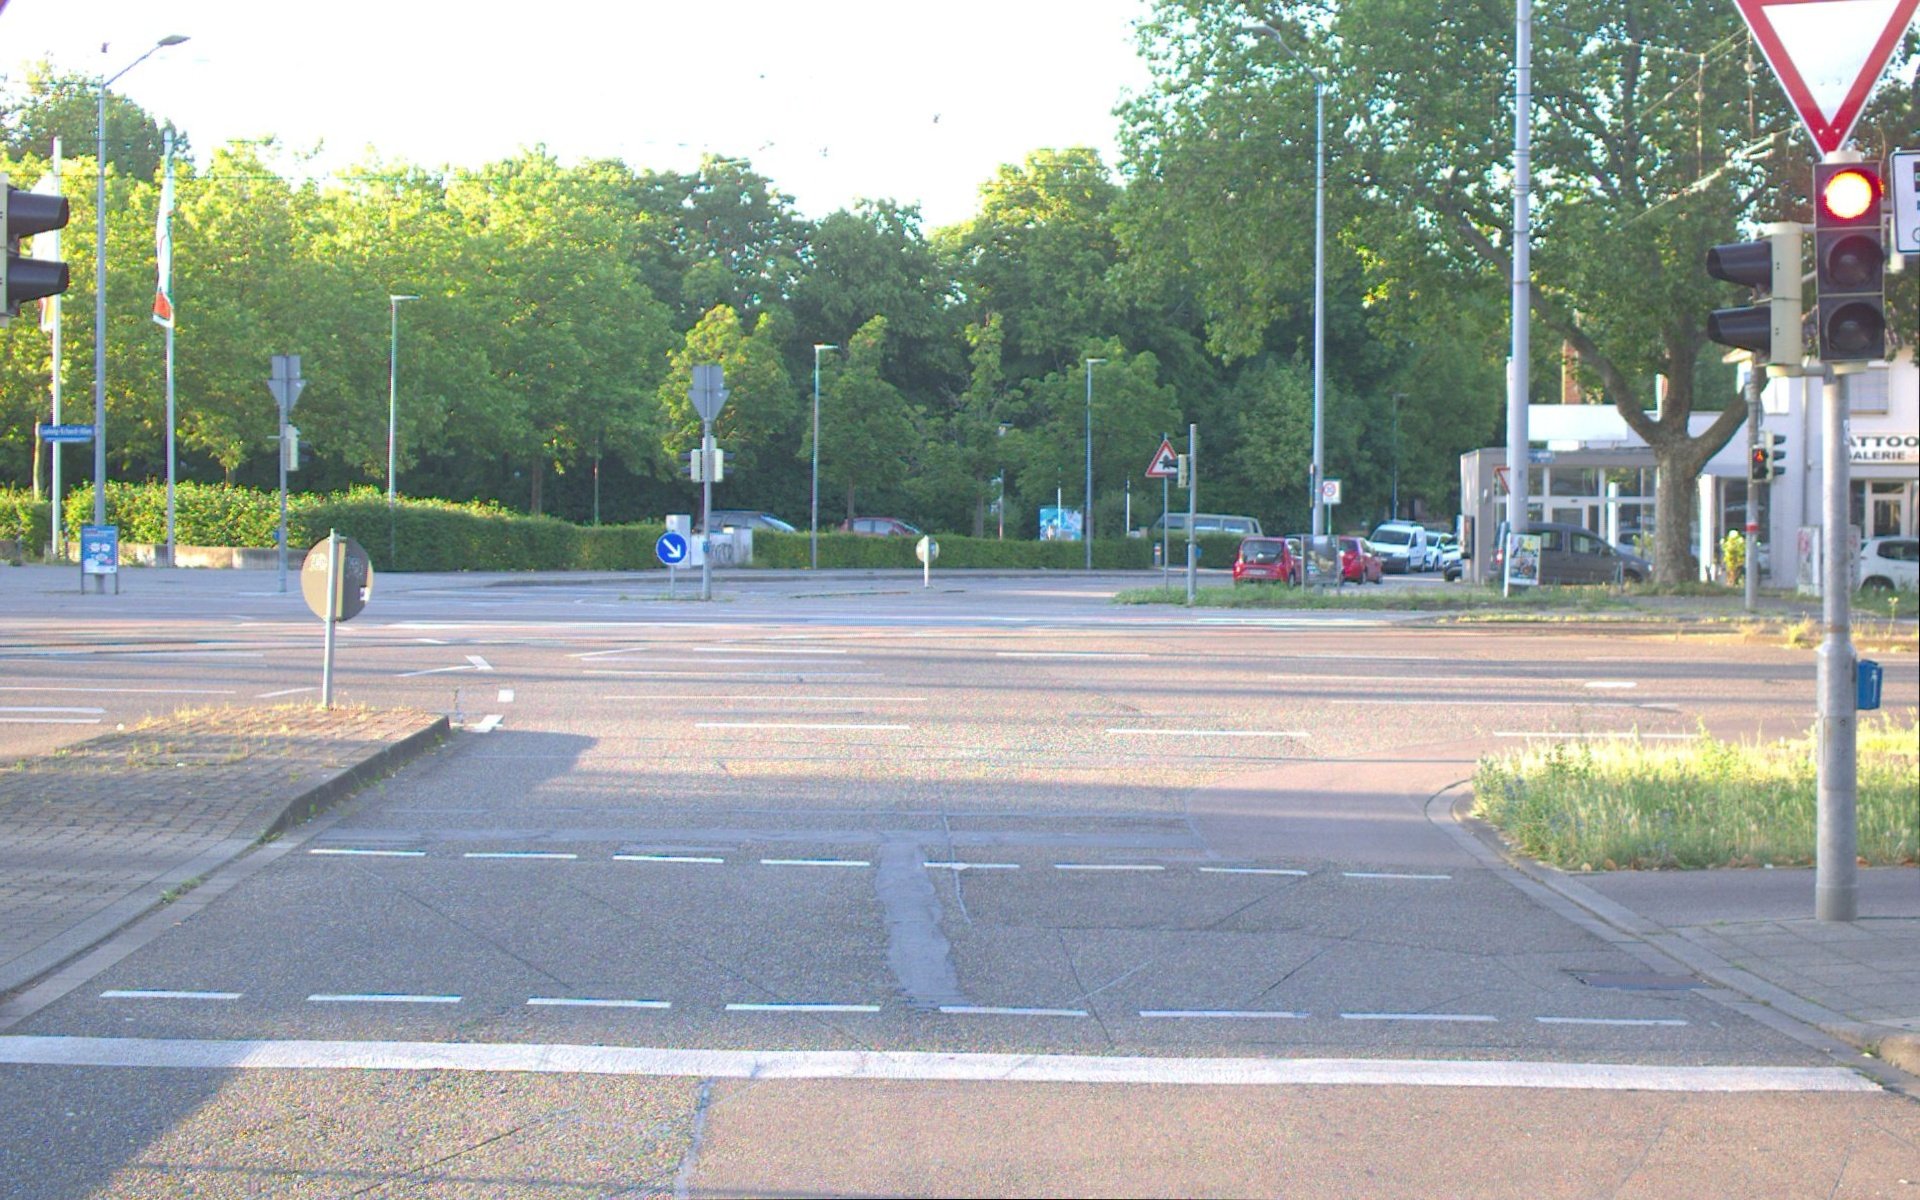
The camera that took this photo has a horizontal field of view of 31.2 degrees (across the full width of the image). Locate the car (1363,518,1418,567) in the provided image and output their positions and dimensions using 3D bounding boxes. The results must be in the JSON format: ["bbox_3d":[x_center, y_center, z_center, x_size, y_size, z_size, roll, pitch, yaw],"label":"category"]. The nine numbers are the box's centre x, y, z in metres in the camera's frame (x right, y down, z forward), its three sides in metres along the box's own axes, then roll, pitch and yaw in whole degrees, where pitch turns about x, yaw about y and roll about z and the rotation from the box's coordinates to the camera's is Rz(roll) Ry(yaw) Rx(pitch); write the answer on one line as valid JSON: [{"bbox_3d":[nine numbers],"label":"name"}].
[{"bbox_3d":[16.430,-2.185,131.177,1.864,1.788,3.998,1,0,10],"label":"car"}]

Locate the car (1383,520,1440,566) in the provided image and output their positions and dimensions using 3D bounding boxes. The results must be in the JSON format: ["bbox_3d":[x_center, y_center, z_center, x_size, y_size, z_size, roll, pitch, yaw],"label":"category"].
[{"bbox_3d":[17.886,-2.248,136.071,1.864,1.788,3.998,1,0,12],"label":"car"}]

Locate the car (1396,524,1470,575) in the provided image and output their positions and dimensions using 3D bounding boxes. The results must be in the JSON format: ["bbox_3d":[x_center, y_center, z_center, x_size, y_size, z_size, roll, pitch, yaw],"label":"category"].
[{"bbox_3d":[15.924,-1.671,115.586,1.995,1.656,3.997,1,0,15],"label":"car"}]

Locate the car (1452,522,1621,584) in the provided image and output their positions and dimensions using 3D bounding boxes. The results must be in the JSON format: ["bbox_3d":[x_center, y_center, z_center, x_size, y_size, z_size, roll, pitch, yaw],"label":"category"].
[{"bbox_3d":[14.912,-1.209,89.156,4.220,1.547,1.999,1,0,7],"label":"car"}]

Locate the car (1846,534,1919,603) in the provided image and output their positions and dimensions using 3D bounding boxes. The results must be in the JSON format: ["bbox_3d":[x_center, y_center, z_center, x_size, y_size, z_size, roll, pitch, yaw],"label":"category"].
[{"bbox_3d":[20.620,-0.650,72.232,3.741,1.435,1.663,1,0,9],"label":"car"}]

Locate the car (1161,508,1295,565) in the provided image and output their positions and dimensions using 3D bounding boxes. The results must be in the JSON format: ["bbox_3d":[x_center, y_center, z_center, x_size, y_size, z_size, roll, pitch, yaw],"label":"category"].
[{"bbox_3d":[9.786,-2.316,125.863,4.774,1.999,2.000,0,0,2],"label":"car"}]

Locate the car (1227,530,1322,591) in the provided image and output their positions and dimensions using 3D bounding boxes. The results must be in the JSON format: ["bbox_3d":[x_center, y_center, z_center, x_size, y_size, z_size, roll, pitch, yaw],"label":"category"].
[{"bbox_3d":[8.777,-1.093,95.675,1.995,1.656,3.997,1,0,15],"label":"car"}]

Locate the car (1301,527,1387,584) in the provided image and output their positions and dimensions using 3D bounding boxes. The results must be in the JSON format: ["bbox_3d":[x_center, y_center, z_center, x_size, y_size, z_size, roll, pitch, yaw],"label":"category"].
[{"bbox_3d":[11.558,-1.332,103.362,1.995,1.656,3.997,1,0,15],"label":"car"}]
